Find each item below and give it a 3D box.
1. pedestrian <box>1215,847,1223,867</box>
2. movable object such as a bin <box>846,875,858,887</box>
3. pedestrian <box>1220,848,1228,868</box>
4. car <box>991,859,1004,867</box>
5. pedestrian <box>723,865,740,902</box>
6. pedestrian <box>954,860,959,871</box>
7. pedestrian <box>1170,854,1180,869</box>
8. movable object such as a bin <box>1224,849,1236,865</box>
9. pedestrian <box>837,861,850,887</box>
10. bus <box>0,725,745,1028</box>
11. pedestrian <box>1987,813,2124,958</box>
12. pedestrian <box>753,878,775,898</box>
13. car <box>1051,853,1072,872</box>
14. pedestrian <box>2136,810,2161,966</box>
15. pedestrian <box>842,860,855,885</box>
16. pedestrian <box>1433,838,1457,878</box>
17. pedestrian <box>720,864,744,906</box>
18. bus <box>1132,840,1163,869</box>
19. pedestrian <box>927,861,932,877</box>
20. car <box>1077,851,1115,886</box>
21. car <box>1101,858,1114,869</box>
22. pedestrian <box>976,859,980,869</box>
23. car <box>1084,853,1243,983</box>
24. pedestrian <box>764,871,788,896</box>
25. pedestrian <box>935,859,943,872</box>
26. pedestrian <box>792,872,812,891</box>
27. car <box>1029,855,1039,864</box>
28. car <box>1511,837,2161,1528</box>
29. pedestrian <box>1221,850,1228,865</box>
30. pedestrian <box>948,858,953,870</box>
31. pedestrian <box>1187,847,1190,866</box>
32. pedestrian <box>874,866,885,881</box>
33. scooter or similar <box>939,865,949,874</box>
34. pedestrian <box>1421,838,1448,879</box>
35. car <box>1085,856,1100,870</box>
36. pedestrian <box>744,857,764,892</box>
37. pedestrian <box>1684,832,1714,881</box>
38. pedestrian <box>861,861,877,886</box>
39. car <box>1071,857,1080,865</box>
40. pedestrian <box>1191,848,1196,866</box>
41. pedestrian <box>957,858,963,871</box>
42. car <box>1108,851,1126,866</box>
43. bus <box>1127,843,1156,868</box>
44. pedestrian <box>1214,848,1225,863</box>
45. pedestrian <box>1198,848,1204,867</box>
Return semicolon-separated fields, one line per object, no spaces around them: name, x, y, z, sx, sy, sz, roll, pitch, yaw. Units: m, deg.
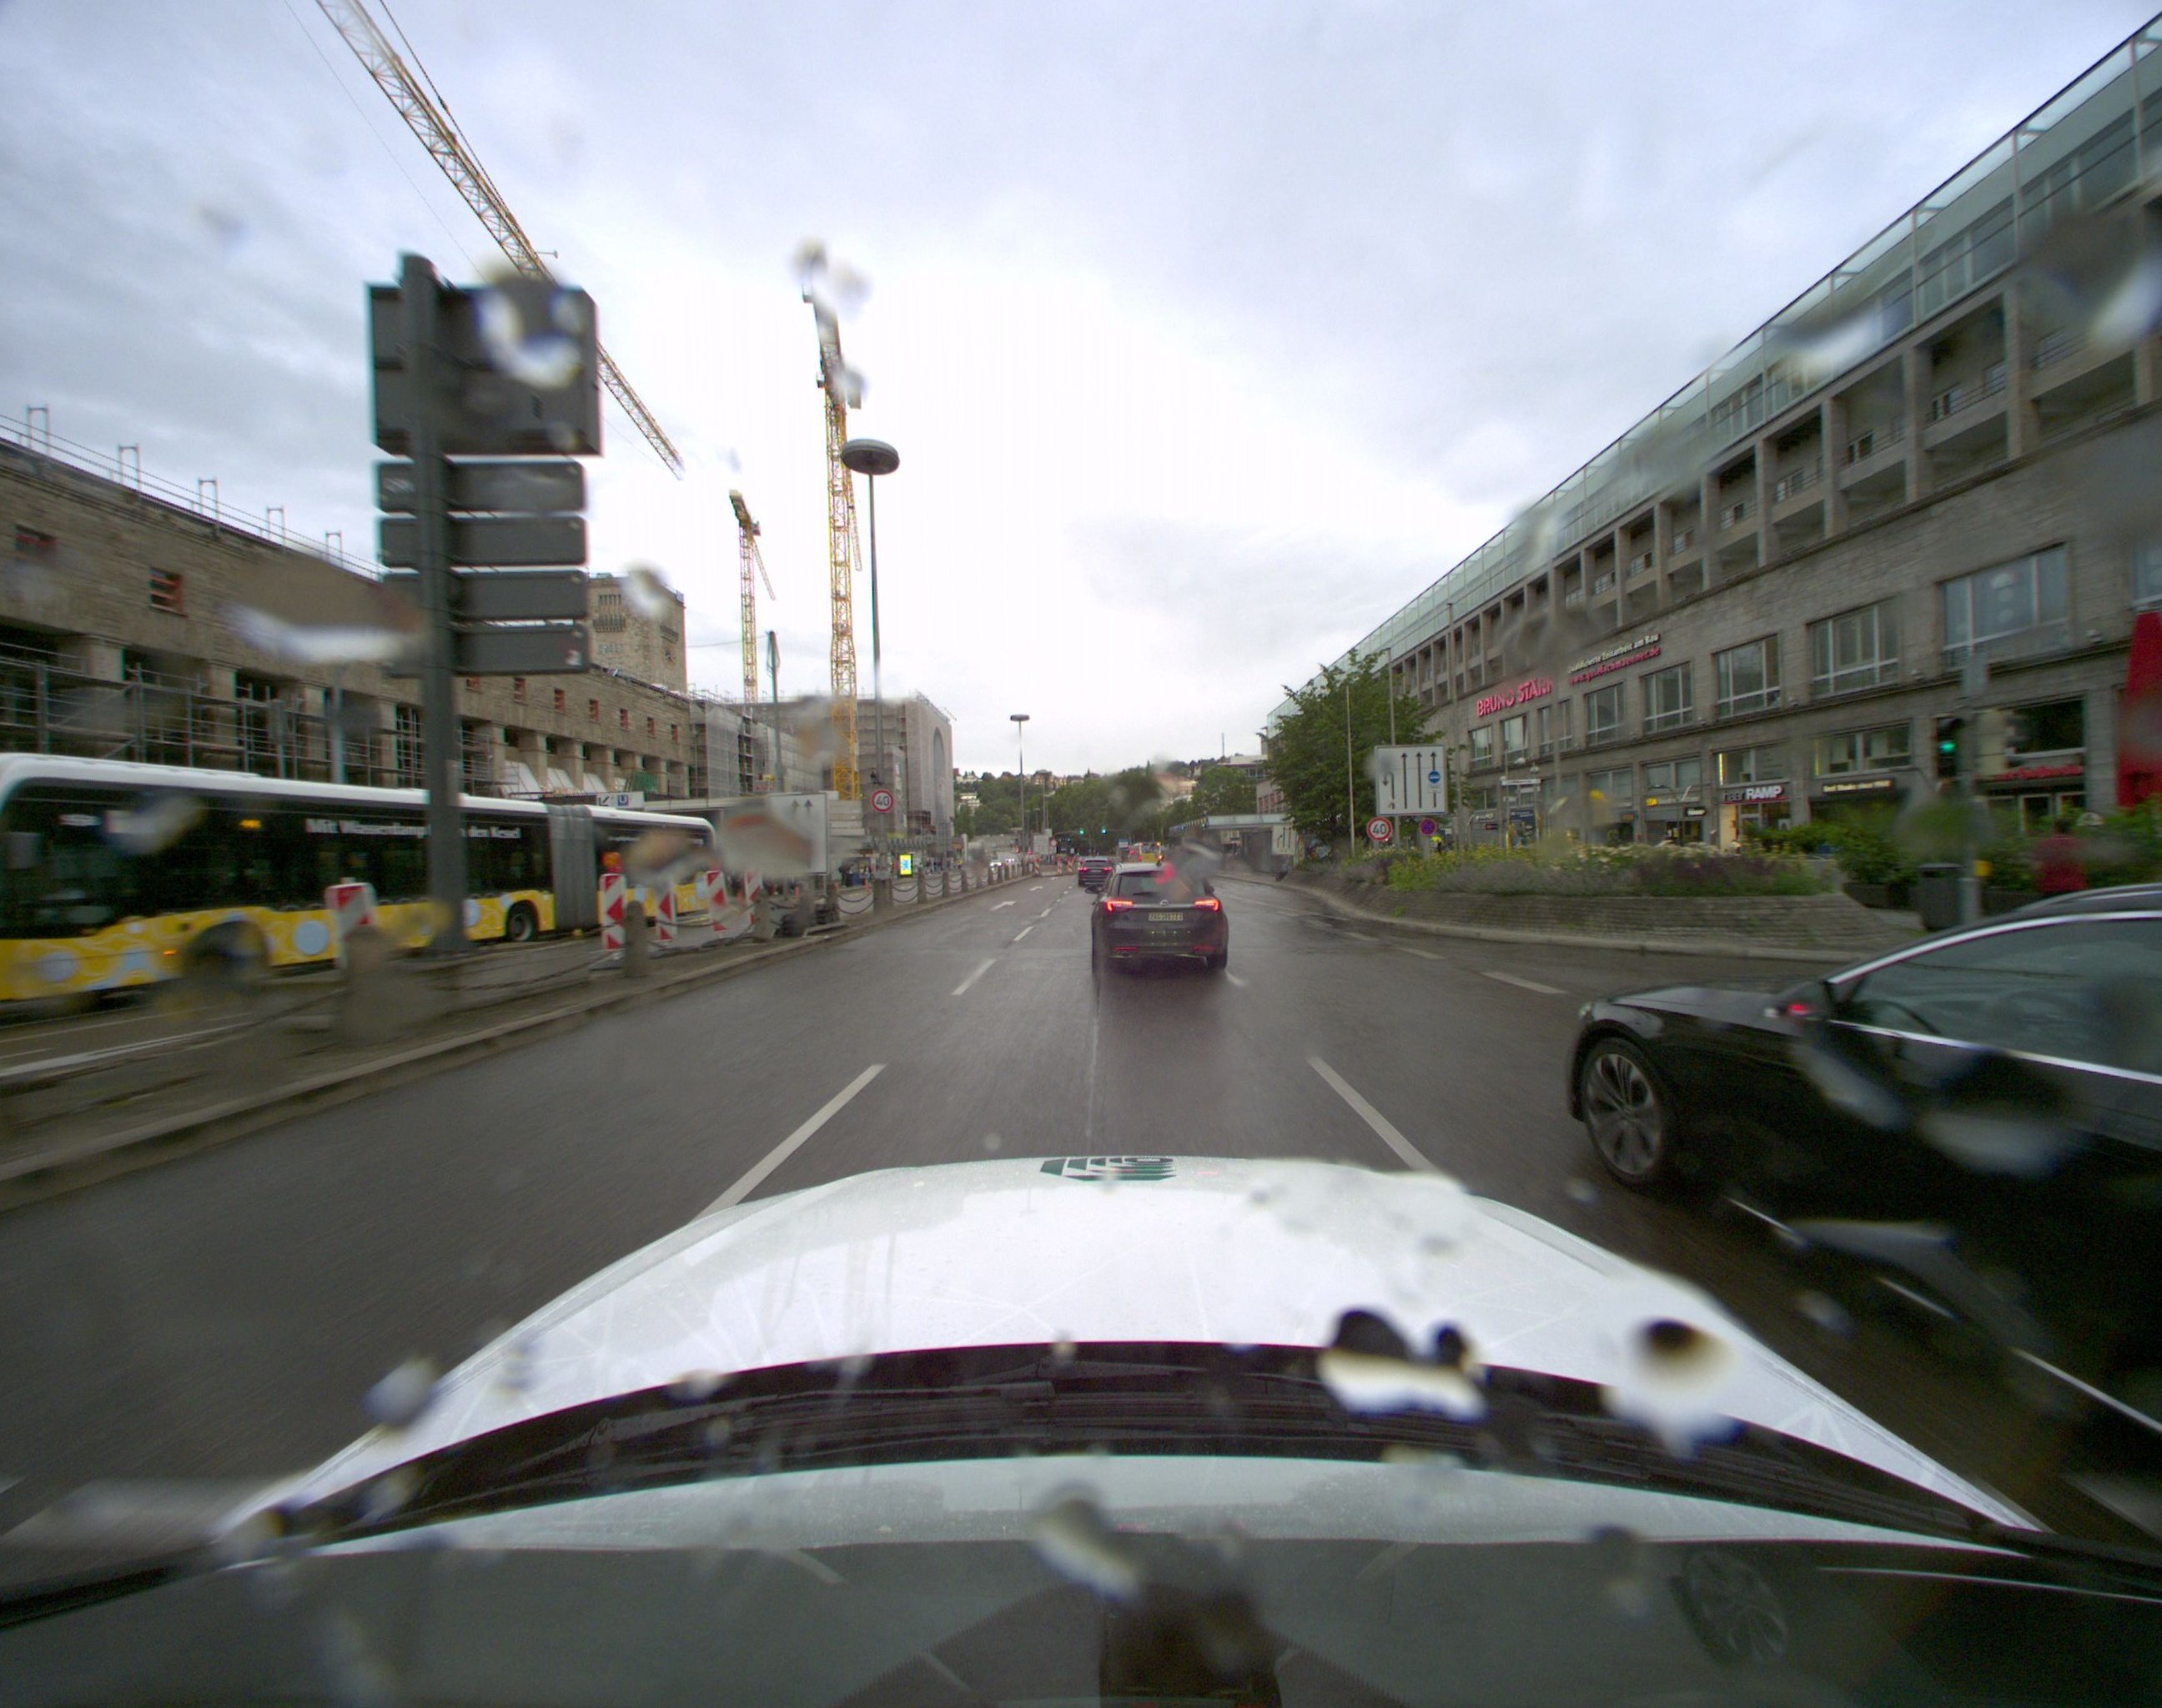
pedestrian;12.831;0.244;75.745;0.673;1.836;0.574;-1;0;2
movable object such as a bin;-16.218;1.892;57.586;0.505;0.789;0.638;-3;-1;45
pedestrian;13.144;0.359;74.668;0.625;1.836;0.642;-1;0;2
car;-16.124;1.796;157.379;1.987;1.468;3.999;-1;-1;0
pedestrian;-17.431;1.447;40.585;0.555;1.790;0.803;-1;0;-8
pedestrian;-19.950;1.868;130.483;0.682;1.685;0.834;-1;0;-14
pedestrian;10.550;0.815;91.422;0.762;1.690;0.992;-1;0;-21
movable object such as a bin;15.367;0.292;84.013;0.665;1.652;1.040;-1;0;-23
pedestrian;-16.629;1.397;57.053;0.682;1.848;0.551;-1;-1;-44
bus;-13.751;0.372;18.999;2.898;3.577;19.090;-3;0;3
pedestrian;12.362;0.384;10.358;0.695;1.751;0.836;-1;0;-1
pedestrian;-17.885;1.912;45.918;0.841;1.093;0.925;-1;0;-1
car;-2.012;0.838;85.362;1.986;1.862;4.834;-2;0;1
pedestrian;12.684;0.386;9.227;0.533;1.790;0.682;-1;0;4
pedestrian;-16.987;1.367;59.486;0.785;1.790;0.666;-1;0;-28
pedestrian;16.352;0.173;36.602;0.611;1.751;0.868;-1;0;-1
pedestrian;-16.794;1.489;39.186;0.757;1.959;0.822;-1;-1;-2
bus;7.973;0.122;98.786;3.131;3.248;9.133;-1;-1;0
pedestrian;-17.775;1.745;95.781;0.507;1.841;0.703;-1;0;-6
car;0.789;0.747;43.030;1.824;1.686;4.134;-2;0;1
car;3.672;1.329;114.521;1.669;1.581;3.238;-1;-1;-1
pedestrian;-18.909;1.848;149.344;0.696;1.841;0.877;-1;-1;-2
car;1.059;0.775;12.180;1.870;1.508;4.853;-1;0;2
pedestrian;-17.947;1.713;47.936;1.052;1.432;0.830;-1;0;-1
pedestrian;-20.307;1.632;116.673;0.835;1.841;1.059;-1;0;3
pedestrian;-18.056;1.768;52.711;0.946;1.158;1.055;-1;0;0
car;-10.280;1.190;177.936;1.991;2.014;5.359;-1;-1;-5
car;3.214;0.688;2.131;1.811;1.464;4.702;-2;0;2
pedestrian;16.218;0.414;92.045;0.745;1.695;0.902;-1;0;3
pedestrian;-19.207;1.482;120.039;0.571;1.841;0.701;-1;0;-14
pedestrian;10.688;0.261;80.739;0.242;1.836;0.512;-1;-1;4
pedestrian;-17.578;1.697;70.966;0.697;1.326;0.805;-1;0;-1
scooter or similar;-17.100;1.983;101.732;0.454;1.066;1.248;-2;0;35
pedestrian;15.657;0.203;36.088;0.638;1.751;1.076;-1;0;-1
car;1.712;1.289;121.373;1.979;2.014;4.363;-1;-1;-4
pedestrian;-17.002;1.070;42.357;0.723;1.790;0.746;-1;0;-6
pedestrian;22.172;0.085;29.234;0.530;1.751;0.636;-1;0;-1
pedestrian;-15.342;1.386;58.947;0.771;1.790;0.862;-1;0;7
car;-1.101;1.421;168.378;1.700;1.665;3.706;-1;-1;1
pedestrian;11.169;0.300;80.945;0.345;1.836;0.533;-1;0;3
pedestrian;-17.629;1.547;118.556;0.876;1.841;0.834;-1;0;-14
car;4.244;0.588;97.356;1.847;1.717;3.996;-1;-1;-2
bus;7.956;0.257;107.952;3.104;3.205;9.238;-1;-1;-1
pedestrian;16.285;0.169;95.480;0.791;1.805;0.983;-2;-1;-29
pedestrian;13.923;0.394;94.583;0.588;2.215;0.587;-1;0;2
